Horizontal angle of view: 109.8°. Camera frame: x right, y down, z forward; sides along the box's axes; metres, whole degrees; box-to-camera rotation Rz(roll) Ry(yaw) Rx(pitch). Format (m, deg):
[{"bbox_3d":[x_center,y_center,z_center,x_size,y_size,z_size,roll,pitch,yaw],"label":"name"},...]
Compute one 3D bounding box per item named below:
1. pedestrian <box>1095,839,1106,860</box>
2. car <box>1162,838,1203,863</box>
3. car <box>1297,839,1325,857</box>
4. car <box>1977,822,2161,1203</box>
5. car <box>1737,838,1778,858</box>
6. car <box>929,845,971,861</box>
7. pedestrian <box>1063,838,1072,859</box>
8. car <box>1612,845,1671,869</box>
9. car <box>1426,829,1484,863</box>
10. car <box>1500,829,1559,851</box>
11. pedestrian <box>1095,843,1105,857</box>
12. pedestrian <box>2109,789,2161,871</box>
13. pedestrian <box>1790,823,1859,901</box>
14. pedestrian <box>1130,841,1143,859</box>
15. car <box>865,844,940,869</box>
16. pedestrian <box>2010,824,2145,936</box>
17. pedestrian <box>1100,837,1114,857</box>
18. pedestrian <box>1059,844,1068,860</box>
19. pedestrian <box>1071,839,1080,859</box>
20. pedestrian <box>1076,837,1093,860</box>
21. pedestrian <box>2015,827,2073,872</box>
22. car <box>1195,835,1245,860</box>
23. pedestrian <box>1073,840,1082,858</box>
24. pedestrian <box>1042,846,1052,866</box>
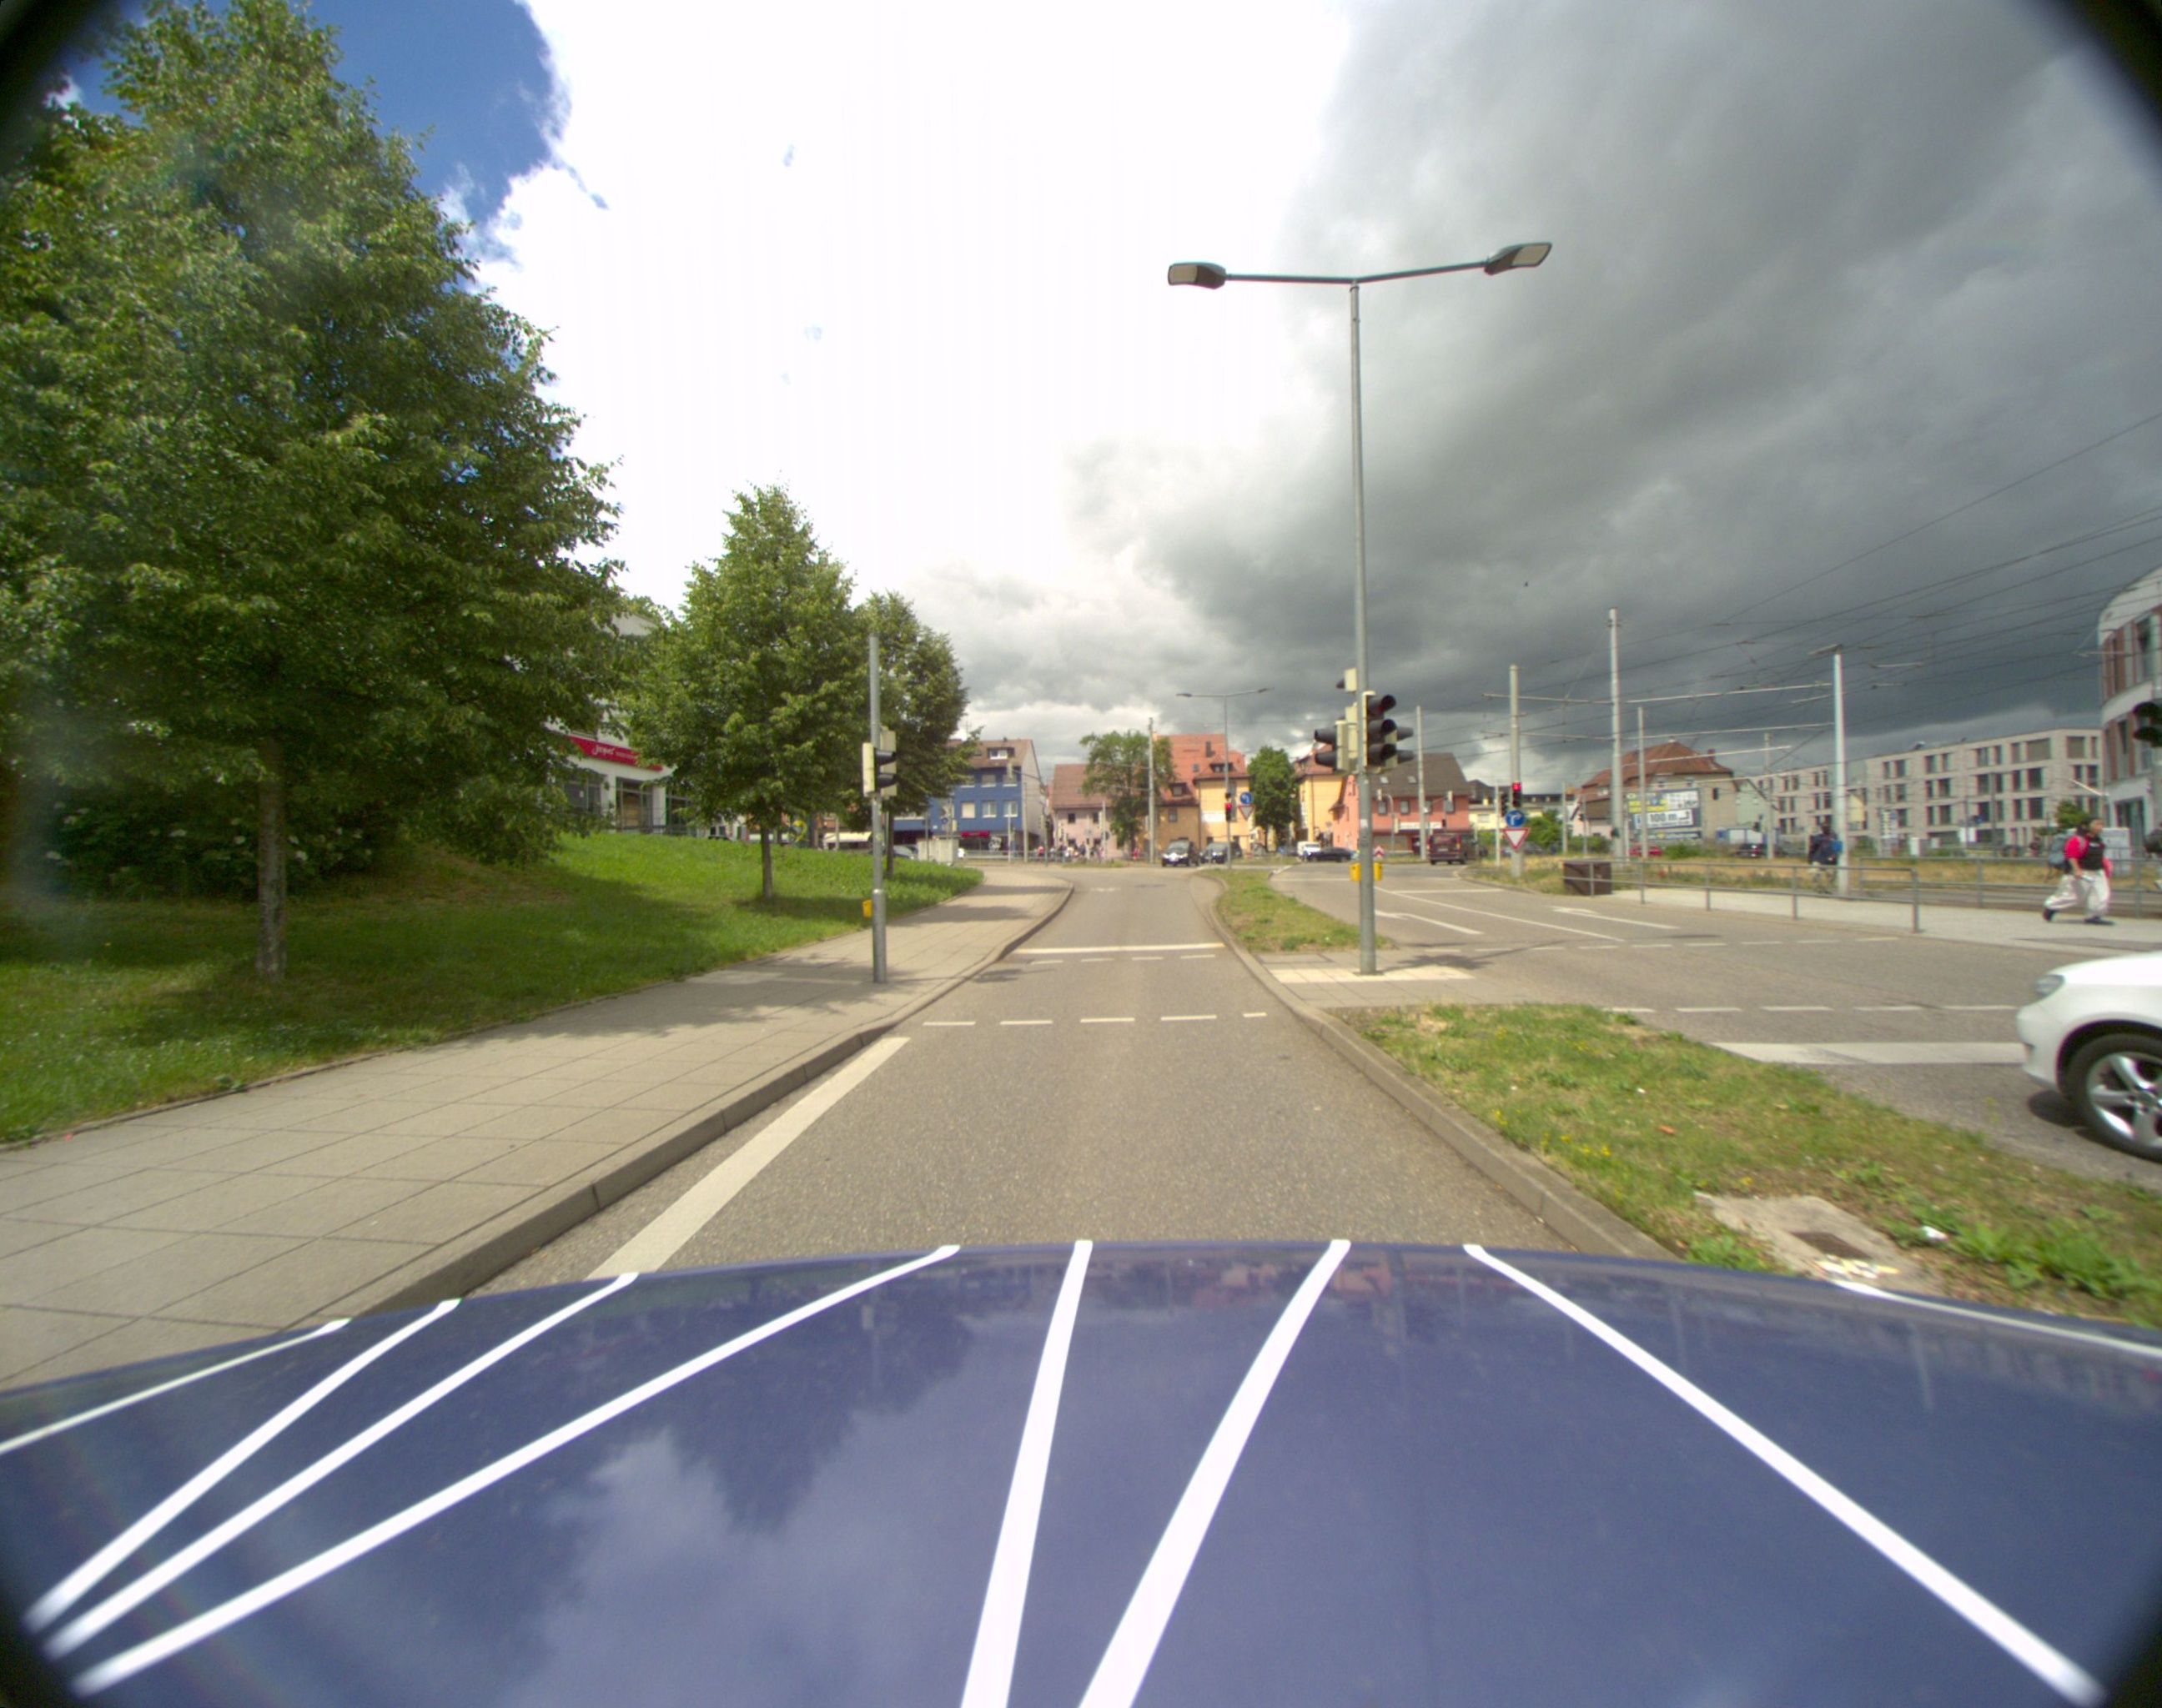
[{"bbox_3d":[1.648,-0.392,63.044,0.693,1.740,0.751,-1,1,-20],"label":"pedestrian"},{"bbox_3d":[6.284,-0.171,46.669,1.880,1.420,4.006,-2,-1,16],"label":"car"},{"bbox_3d":[26.317,-0.651,86.996,2.079,1.886,4.664,-2,0,5],"label":"car"},{"bbox_3d":[5.376,0.657,1.867,1.703,1.639,4.080,-2,0,5],"label":"car"},{"bbox_3d":[58.234,-0.519,65.358,4.304,1.571,1.806,-2,2,-37],"label":"car"},{"bbox_3d":[-12.965,-0.119,75.044,4.001,1.522,1.711,0,-1,-11],"label":"car"},{"bbox_3d":[-1.164,-0.464,65.678,0.675,1.739,0.587,2,0,-2],"label":"pedestrian"},{"bbox_3d":[51.119,0.290,69.362,4.000,2.001,1.999,-1,-1,-8],"label":"car"},{"bbox_3d":[22.205,-0.493,45.042,1.994,1.812,5.081,-1,2,39],"label":"car"},{"bbox_3d":[31.002,-0.961,52.450,5.061,1.402,1.798,-2,2,-38],"label":"car"},{"bbox_3d":[1.651,-0.357,65.052,0.676,1.161,0.586,-1,1,-24],"label":"pedestrian"},{"bbox_3d":[21.959,-0.491,15.425,0.863,1.627,0.921,0,1,8],"label":"pedestrian"},{"bbox_3d":[15.700,0.160,16.062,0.835,1.594,0.670,-1,1,-9],"label":"pedestrian"},{"bbox_3d":[4.768,-0.352,64.740,0.855,1.473,0.740,-1,1,-24],"label":"pedestrian"},{"bbox_3d":[-11.297,0.149,47.965,4.312,1.456,2.057,0,1,29],"label":"car"},{"bbox_3d":[14.217,0.351,10.867,0.801,1.532,0.835,-1,1,2],"label":"pedestrian"},{"bbox_3d":[2.186,-0.598,64.147,0.893,1.642,0.824,-1,1,-23],"label":"pedestrian"},{"bbox_3d":[-1.590,-0.186,67.677,0.676,1.367,0.634,-1,1,-17],"label":"pedestrian"},{"bbox_3d":[-0.496,-0.451,66.257,0.675,1.739,0.587,2,0,-2],"label":"pedestrian"},{"bbox_3d":[0.295,-0.470,62.530,0.970,1.830,0.823,3,-1,-38],"label":"pedestrian"},{"bbox_3d":[43.572,-0.206,34.406,1.254,2.002,1.142,0,1,28],"label":"pedestrian"},{"bbox_3d":[9.883,-0.440,53.688,1.995,1.639,4.429,-2,-2,31],"label":"car"},{"bbox_3d":[-0.307,-0.449,64.621,0.675,1.556,0.586,-1,1,-13],"label":"pedestrian"},{"bbox_3d":[-2.965,0.142,66.071,0.753,1.740,0.586,-1,1,-24],"label":"pedestrian"}]
